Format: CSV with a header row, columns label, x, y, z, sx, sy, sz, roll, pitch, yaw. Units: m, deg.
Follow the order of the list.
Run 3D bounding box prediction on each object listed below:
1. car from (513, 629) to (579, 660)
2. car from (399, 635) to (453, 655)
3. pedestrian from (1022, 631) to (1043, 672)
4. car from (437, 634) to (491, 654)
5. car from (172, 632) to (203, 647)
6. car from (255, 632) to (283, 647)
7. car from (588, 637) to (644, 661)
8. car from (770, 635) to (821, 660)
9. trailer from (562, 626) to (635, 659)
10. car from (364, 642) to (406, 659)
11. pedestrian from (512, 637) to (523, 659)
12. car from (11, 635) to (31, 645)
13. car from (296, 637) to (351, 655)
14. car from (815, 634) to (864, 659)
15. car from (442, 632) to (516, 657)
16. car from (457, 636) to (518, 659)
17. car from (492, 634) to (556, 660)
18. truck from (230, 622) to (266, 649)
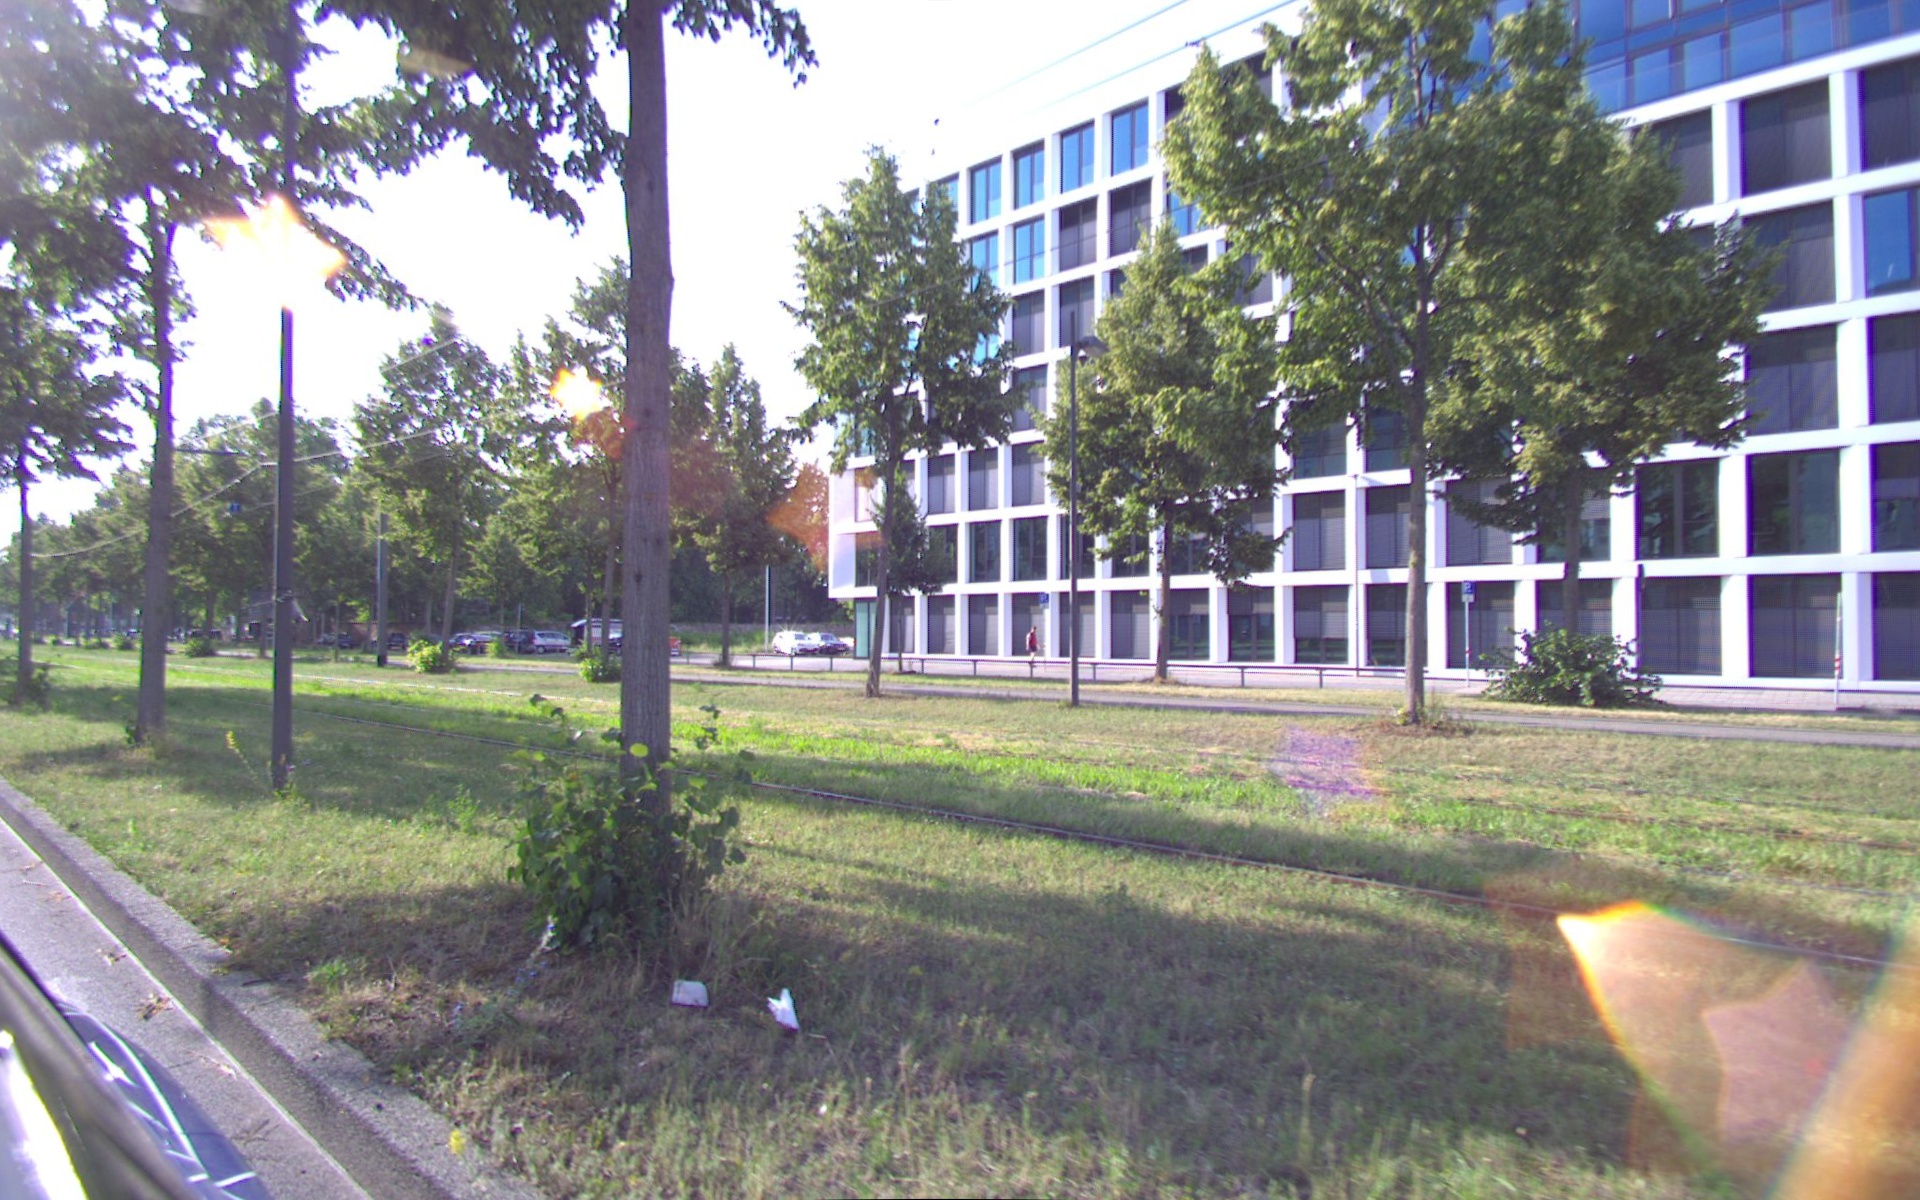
label,x,y,z,sx,sy,sz,roll,pitch,yaw
car,-29.359,3.130,71.789,1.757,1.962,3.950,-1,0,41
car,-46.237,3.899,87.672,3.810,1.497,1.746,-1,0,-41
pedestrian,3.169,2.236,44.262,0.691,1.741,0.561,-1,0,41
car,-40.562,3.572,82.817,1.810,1.439,3.607,-1,0,43
car,-81.308,4.170,106.501,4.474,1.442,1.811,-1,0,42
car,-82.436,4.707,120.715,4.474,1.624,1.811,-1,0,42
car,-22.241,3.172,65.368,3.756,1.404,1.663,-1,0,38
car,-11.418,3.262,70.101,1.824,1.608,4.008,-1,0,-38
trailer,-24.498,2.843,68.711,1.758,2.069,4.315,-1,0,44
car,-53.198,4.672,93.599,4.352,1.453,1.770,-1,0,36
pedestrian,-30.882,3.353,70.656,0.568,1.491,0.516,-1,0,40
car,-142.792,6.053,153.906,4.811,1.487,1.664,-1,-4,42
car,-53.677,3.872,85.372,3.996,1.446,1.680,-1,0,14
car,-8.545,3.270,71.502,1.662,1.569,4.009,-1,0,-37
car,-38.533,3.528,81.154,1.886,1.748,5.004,-1,0,43
car,-36.937,3.662,79.201,1.856,1.572,3.943,-1,0,43
car,-31.803,3.405,73.900,1.757,1.655,3.950,-1,0,41
truck,-96.892,4.799,137.645,2.855,3.542,7.950,-1,0,-44
